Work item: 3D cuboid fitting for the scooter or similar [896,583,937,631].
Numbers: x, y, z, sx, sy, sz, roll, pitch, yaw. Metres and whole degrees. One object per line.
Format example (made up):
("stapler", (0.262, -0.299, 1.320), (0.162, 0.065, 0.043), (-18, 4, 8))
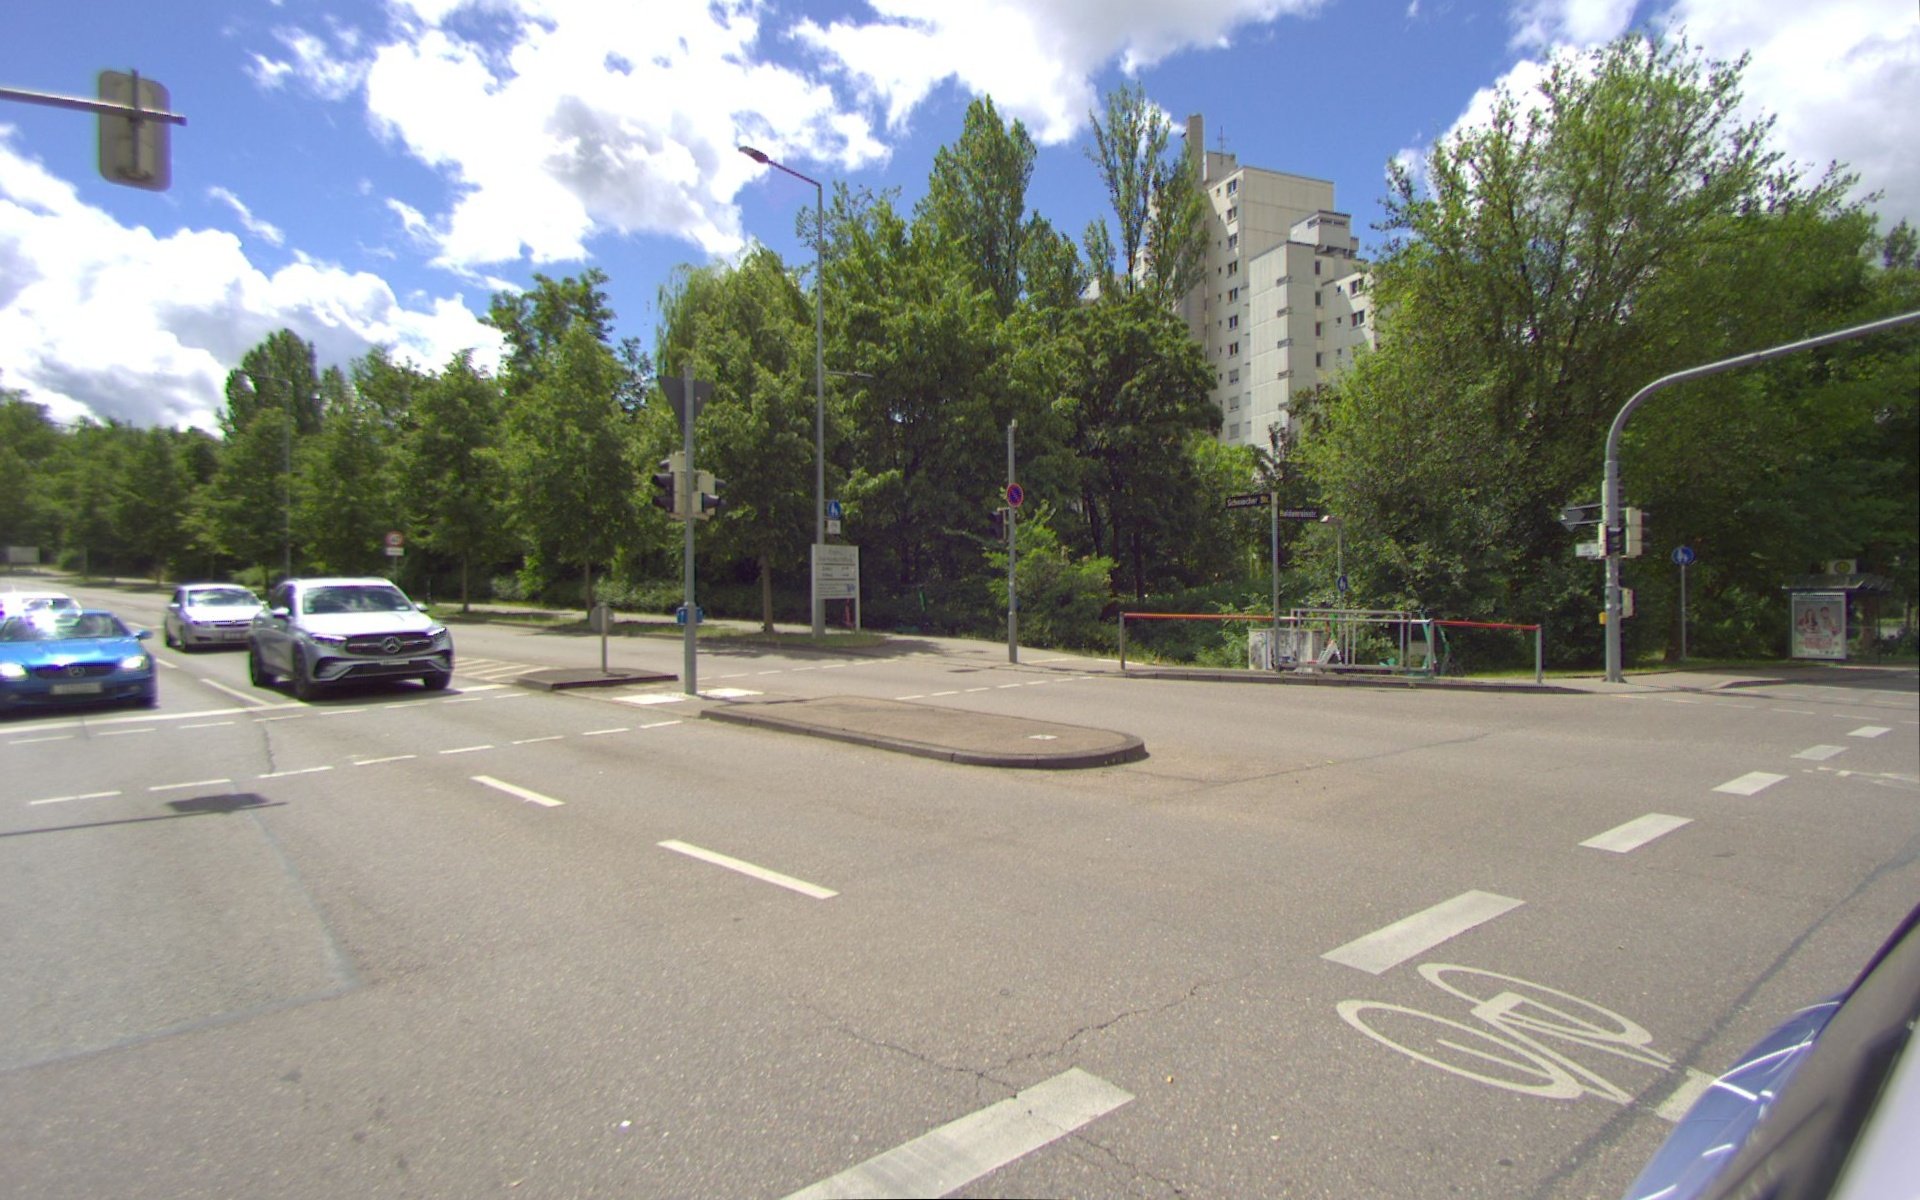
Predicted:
("scooter or similar", (-1.118, 0.168, 25.797), (0.513, 1.197, 1.176), (1, 0, -33))

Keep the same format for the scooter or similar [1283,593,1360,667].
("scooter or similar", (6.402, 0.510, 17.940), (1.180, 1.250, 0.473), (1, 0, 40))

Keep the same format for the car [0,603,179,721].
("car", (-12.185, 0.737, 13.865), (1.883, 1.240, 3.961), (-3, 3, -45))

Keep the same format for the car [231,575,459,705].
("car", (-9.309, 0.448, 15.138), (1.893, 1.611, 4.644), (-2, 3, -44))

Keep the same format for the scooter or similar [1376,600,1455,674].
("scooter or similar", (7.824, 0.623, 17.420), (0.440, 1.210, 1.172), (1, 0, -33))

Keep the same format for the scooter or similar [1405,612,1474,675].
("scooter or similar", (10.134, 0.934, 21.418), (1.195, 1.310, 0.531), (-2, -5, 19))

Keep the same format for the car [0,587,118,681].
("car", (-16.835, 0.538, 18.329), (4.389, 1.432, 1.922), (1, 3, 43))

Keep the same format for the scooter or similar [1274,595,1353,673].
("scooter or similar", (5.919, 0.552, 16.943), (1.198, 1.250, 0.475), (1, 0, 25))

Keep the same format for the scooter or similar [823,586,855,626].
("scooter or similar", (-3.327, 0.158, 27.843), (0.403, 1.087, 1.116), (1, 0, -33))

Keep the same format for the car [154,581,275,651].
("car", (-17.291, 0.306, 23.401), (3.885, 1.430, 1.584), (1, 3, 44))
